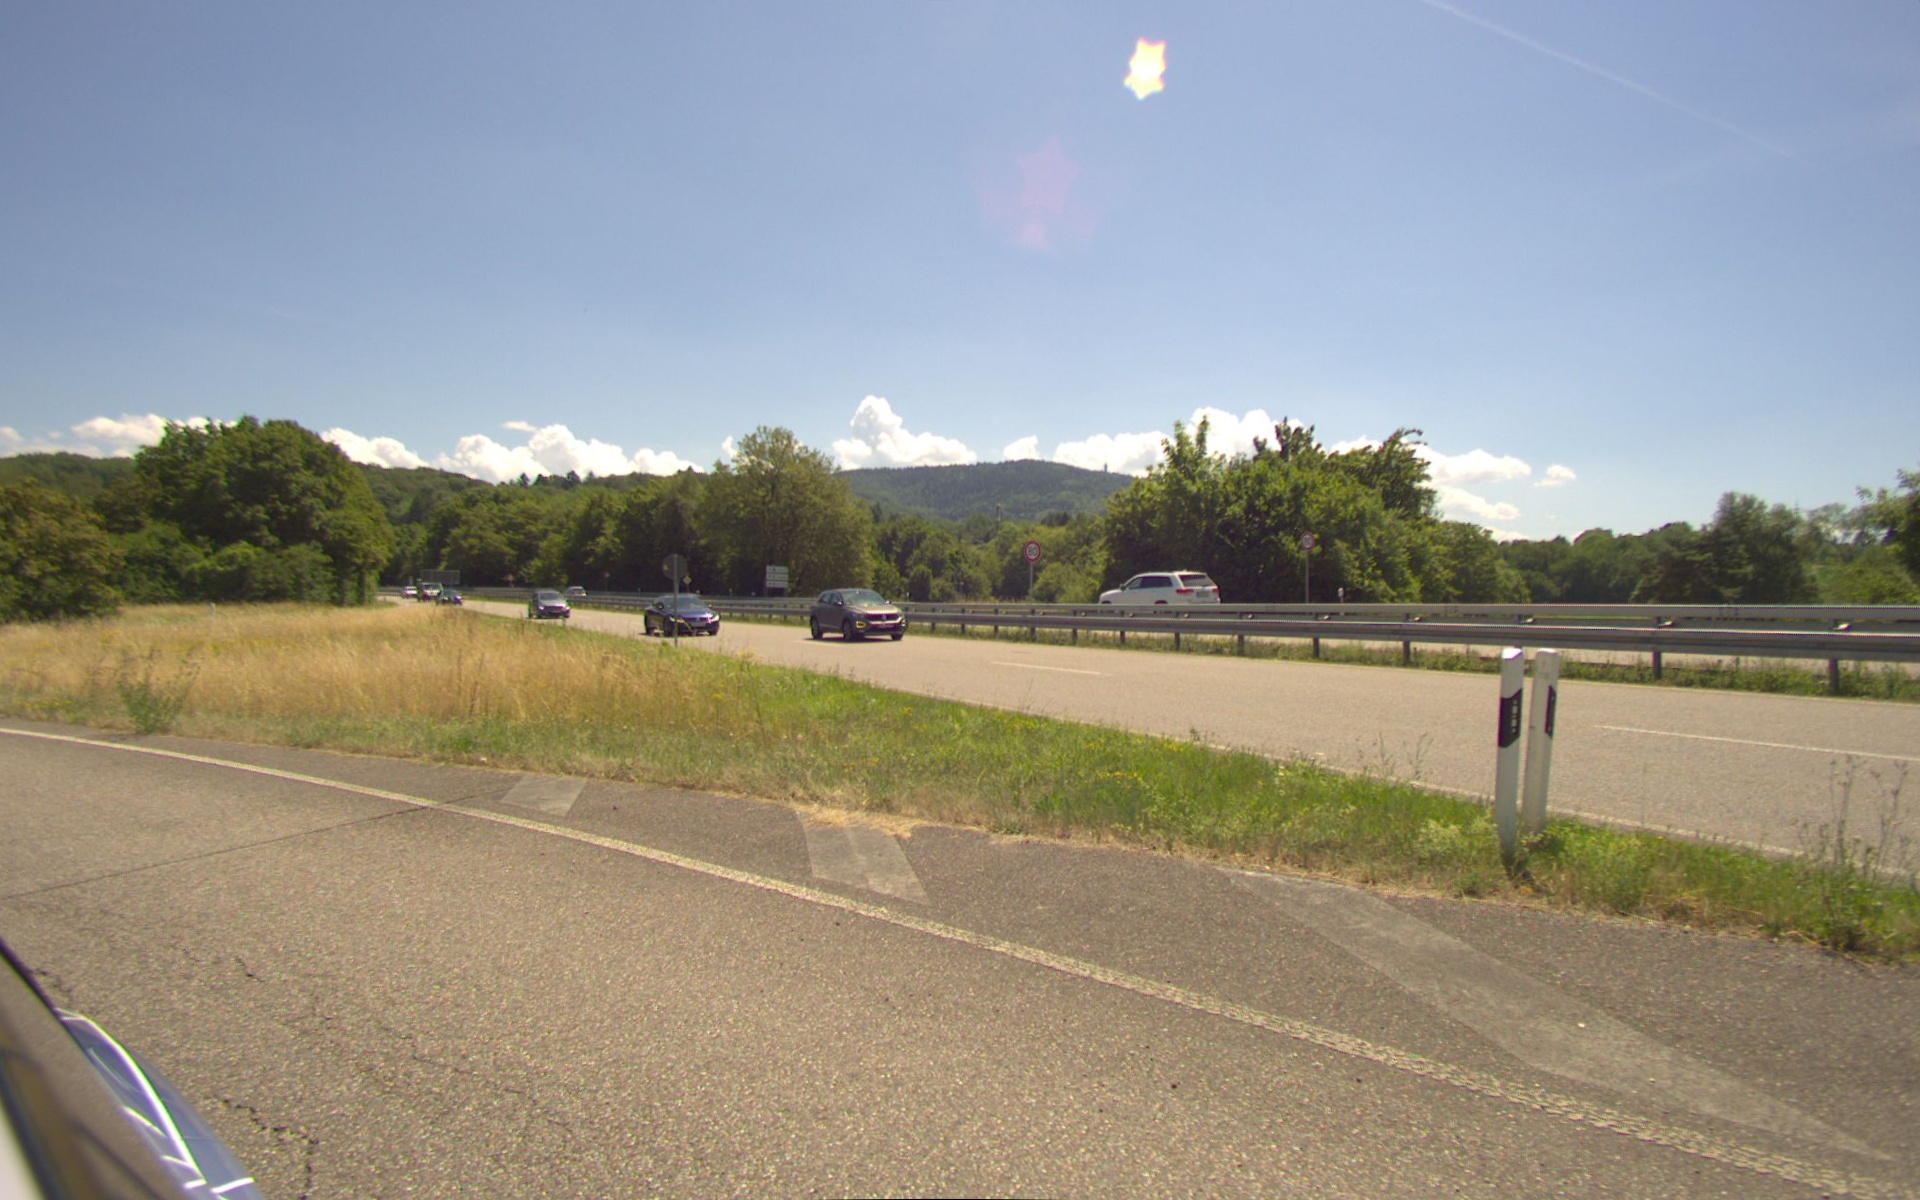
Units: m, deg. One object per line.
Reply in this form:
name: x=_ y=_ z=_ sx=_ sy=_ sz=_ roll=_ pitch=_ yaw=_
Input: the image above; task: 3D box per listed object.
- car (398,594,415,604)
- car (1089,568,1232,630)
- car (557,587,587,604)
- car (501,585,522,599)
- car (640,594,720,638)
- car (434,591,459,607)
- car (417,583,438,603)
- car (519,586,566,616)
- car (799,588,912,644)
car: x=-72.140 y=-0.168 z=131.878 sx=1.644 sy=1.292 sz=4.011 roll=-1 pitch=1 yaw=-33
car: x=6.571 y=-0.073 z=33.733 sx=1.966 sy=1.907 sz=4.928 roll=-1 pitch=1 yaw=-29
car: x=-42.302 y=-0.466 z=110.255 sx=1.904 sy=1.764 sz=4.925 roll=-1 pitch=1 yaw=-34
car: x=-64.222 y=-1.158 z=144.858 sx=1.967 sy=1.907 sz=4.925 roll=-1 pitch=1 yaw=-34
car: x=-10.213 y=0.565 z=36.675 sx=1.815 sy=1.418 sz=4.484 roll=-2 pitch=0 yaw=-28
car: x=-48.054 y=-0.082 z=94.647 sx=1.815 sy=1.418 sz=4.484 roll=-1 pitch=1 yaw=-29
car: x=-58.733 y=-0.783 z=111.518 sx=1.975 sy=2.014 sz=4.594 roll=-2 pitch=1 yaw=-28
car: x=-24.463 y=0.019 z=59.204 sx=1.768 sy=1.680 sz=4.567 roll=-1 pitch=1 yaw=-33
car: x=-3.290 y=0.465 z=31.061 sx=1.815 sy=1.541 sz=4.484 roll=-2 pitch=0 yaw=-29
